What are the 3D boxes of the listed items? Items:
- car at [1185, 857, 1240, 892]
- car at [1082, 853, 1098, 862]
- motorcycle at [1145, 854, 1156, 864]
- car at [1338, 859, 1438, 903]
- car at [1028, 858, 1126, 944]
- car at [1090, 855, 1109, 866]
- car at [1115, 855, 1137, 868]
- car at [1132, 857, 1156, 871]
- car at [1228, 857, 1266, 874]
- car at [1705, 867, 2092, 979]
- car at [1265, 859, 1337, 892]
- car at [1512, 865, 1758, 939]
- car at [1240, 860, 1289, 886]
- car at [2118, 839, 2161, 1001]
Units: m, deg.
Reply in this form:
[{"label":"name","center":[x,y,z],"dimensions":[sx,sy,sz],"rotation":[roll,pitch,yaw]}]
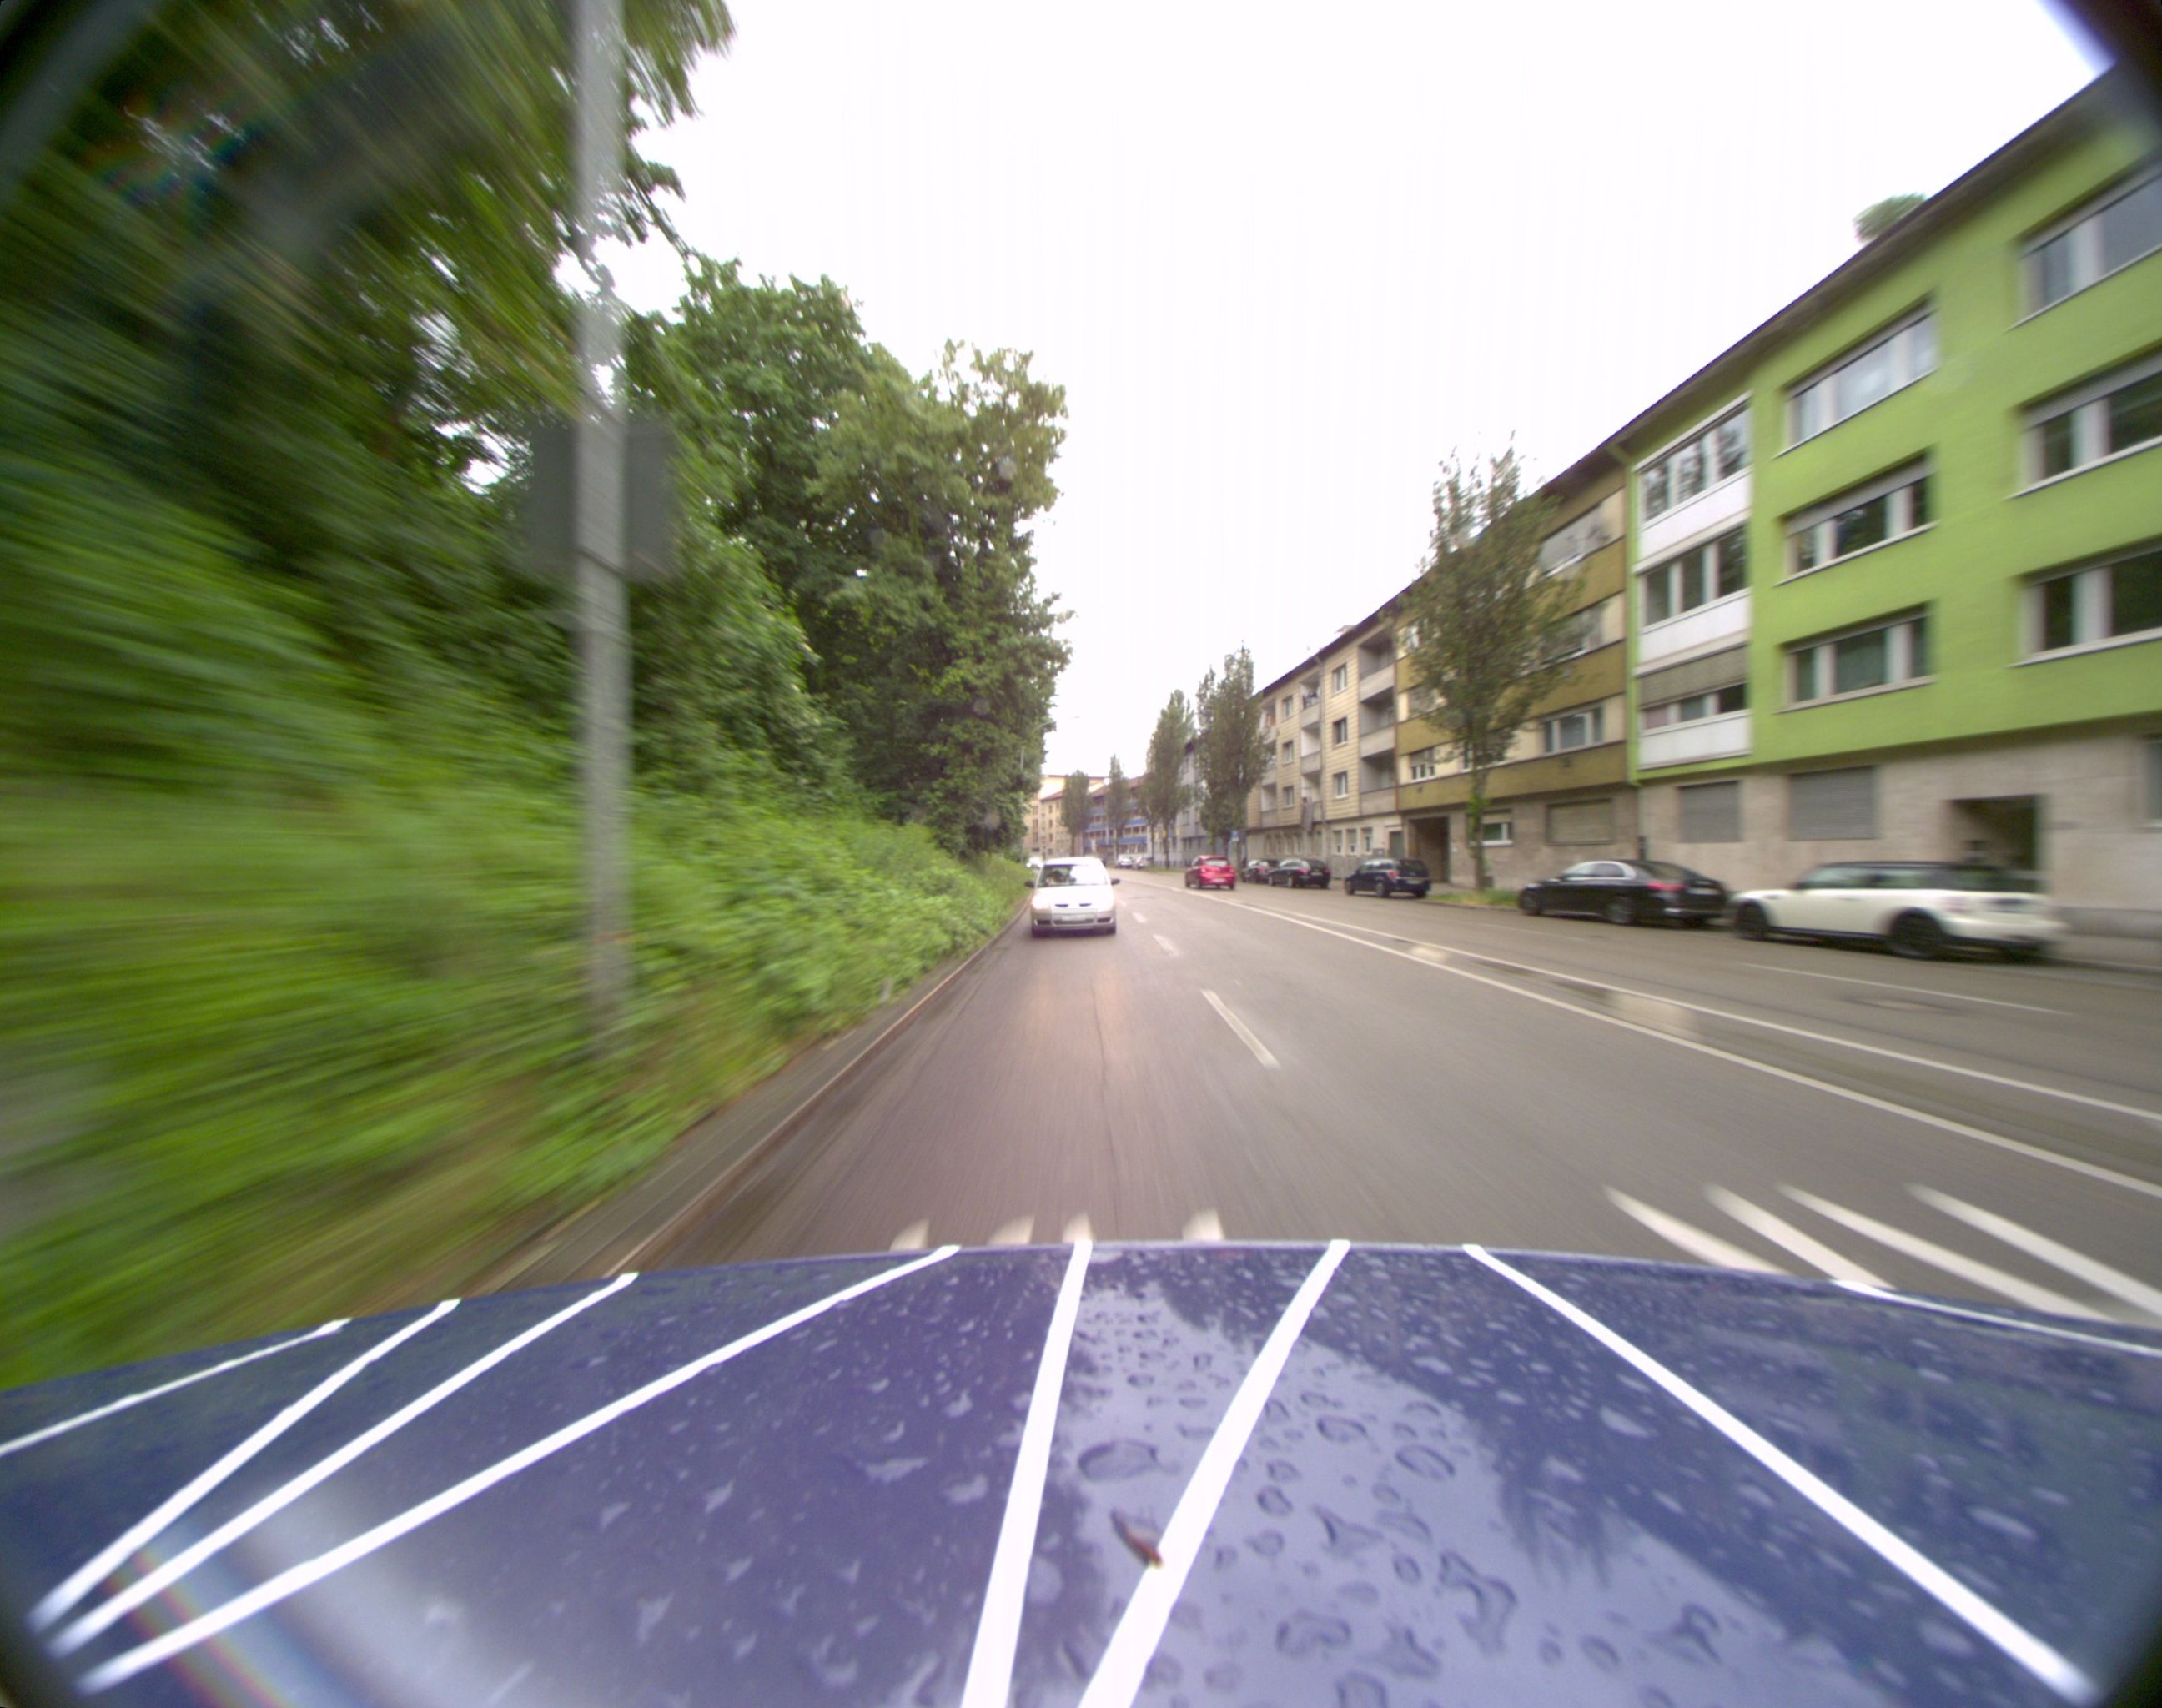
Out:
[{"label":"car","center":[5.889,0.879,34.496],"dimensions":[1.711,1.469,3.679],"rotation":[0,0,-3]},{"label":"car","center":[1.362,0.540,118.207],"dimensions":[1.786,1.394,4.084],"rotation":[1,0,-11]},{"label":"motorcycle","center":[9.839,0.722,107.310],"dimensions":[0.678,1.406,2.233],"rotation":[-3,1,-17]},{"label":"car","center":[11.531,0.961,28.896],"dimensions":[1.723,1.480,4.513],"rotation":[1,0,-4]},{"label":"car","center":[-0.217,0.890,16.295],"dimensions":[1.753,1.510,3.998],"rotation":[-2,0,-5]},{"label":"car","center":[2.711,0.965,112.738],"dimensions":[1.827,1.431,4.888],"rotation":[1,0,-10]},{"label":"car","center":[5.571,0.933,94.925],"dimensions":[1.769,1.594,4.530],"rotation":[0,0,-9]},{"label":"car","center":[6.907,1.071,83.729],"dimensions":[1.730,1.444,4.202],"rotation":[0,0,-8]},{"label":"car","center":[15.157,1.027,69.104],"dimensions":[1.708,1.486,4.008],"rotation":[2,2,39]},{"label":"car","center":[12.421,0.950,12.007],"dimensions":[1.685,1.368,3.999],"rotation":[1,0,-3]},{"label":"car","center":[10.838,1.009,37.788],"dimensions":[1.823,1.480,4.787],"rotation":[1,0,-5]},{"label":"car","center":[12.067,0.969,17.037],"dimensions":[1.823,1.364,4.678],"rotation":[1,0,-5]},{"label":"car","center":[10.480,1.048,43.729],"dimensions":[1.630,1.379,3.987],"rotation":[0,0,-4]},{"label":"car","center":[12.710,0.729,6.284],"dimensions":[1.896,1.756,4.599],"rotation":[1,0,-1]}]
